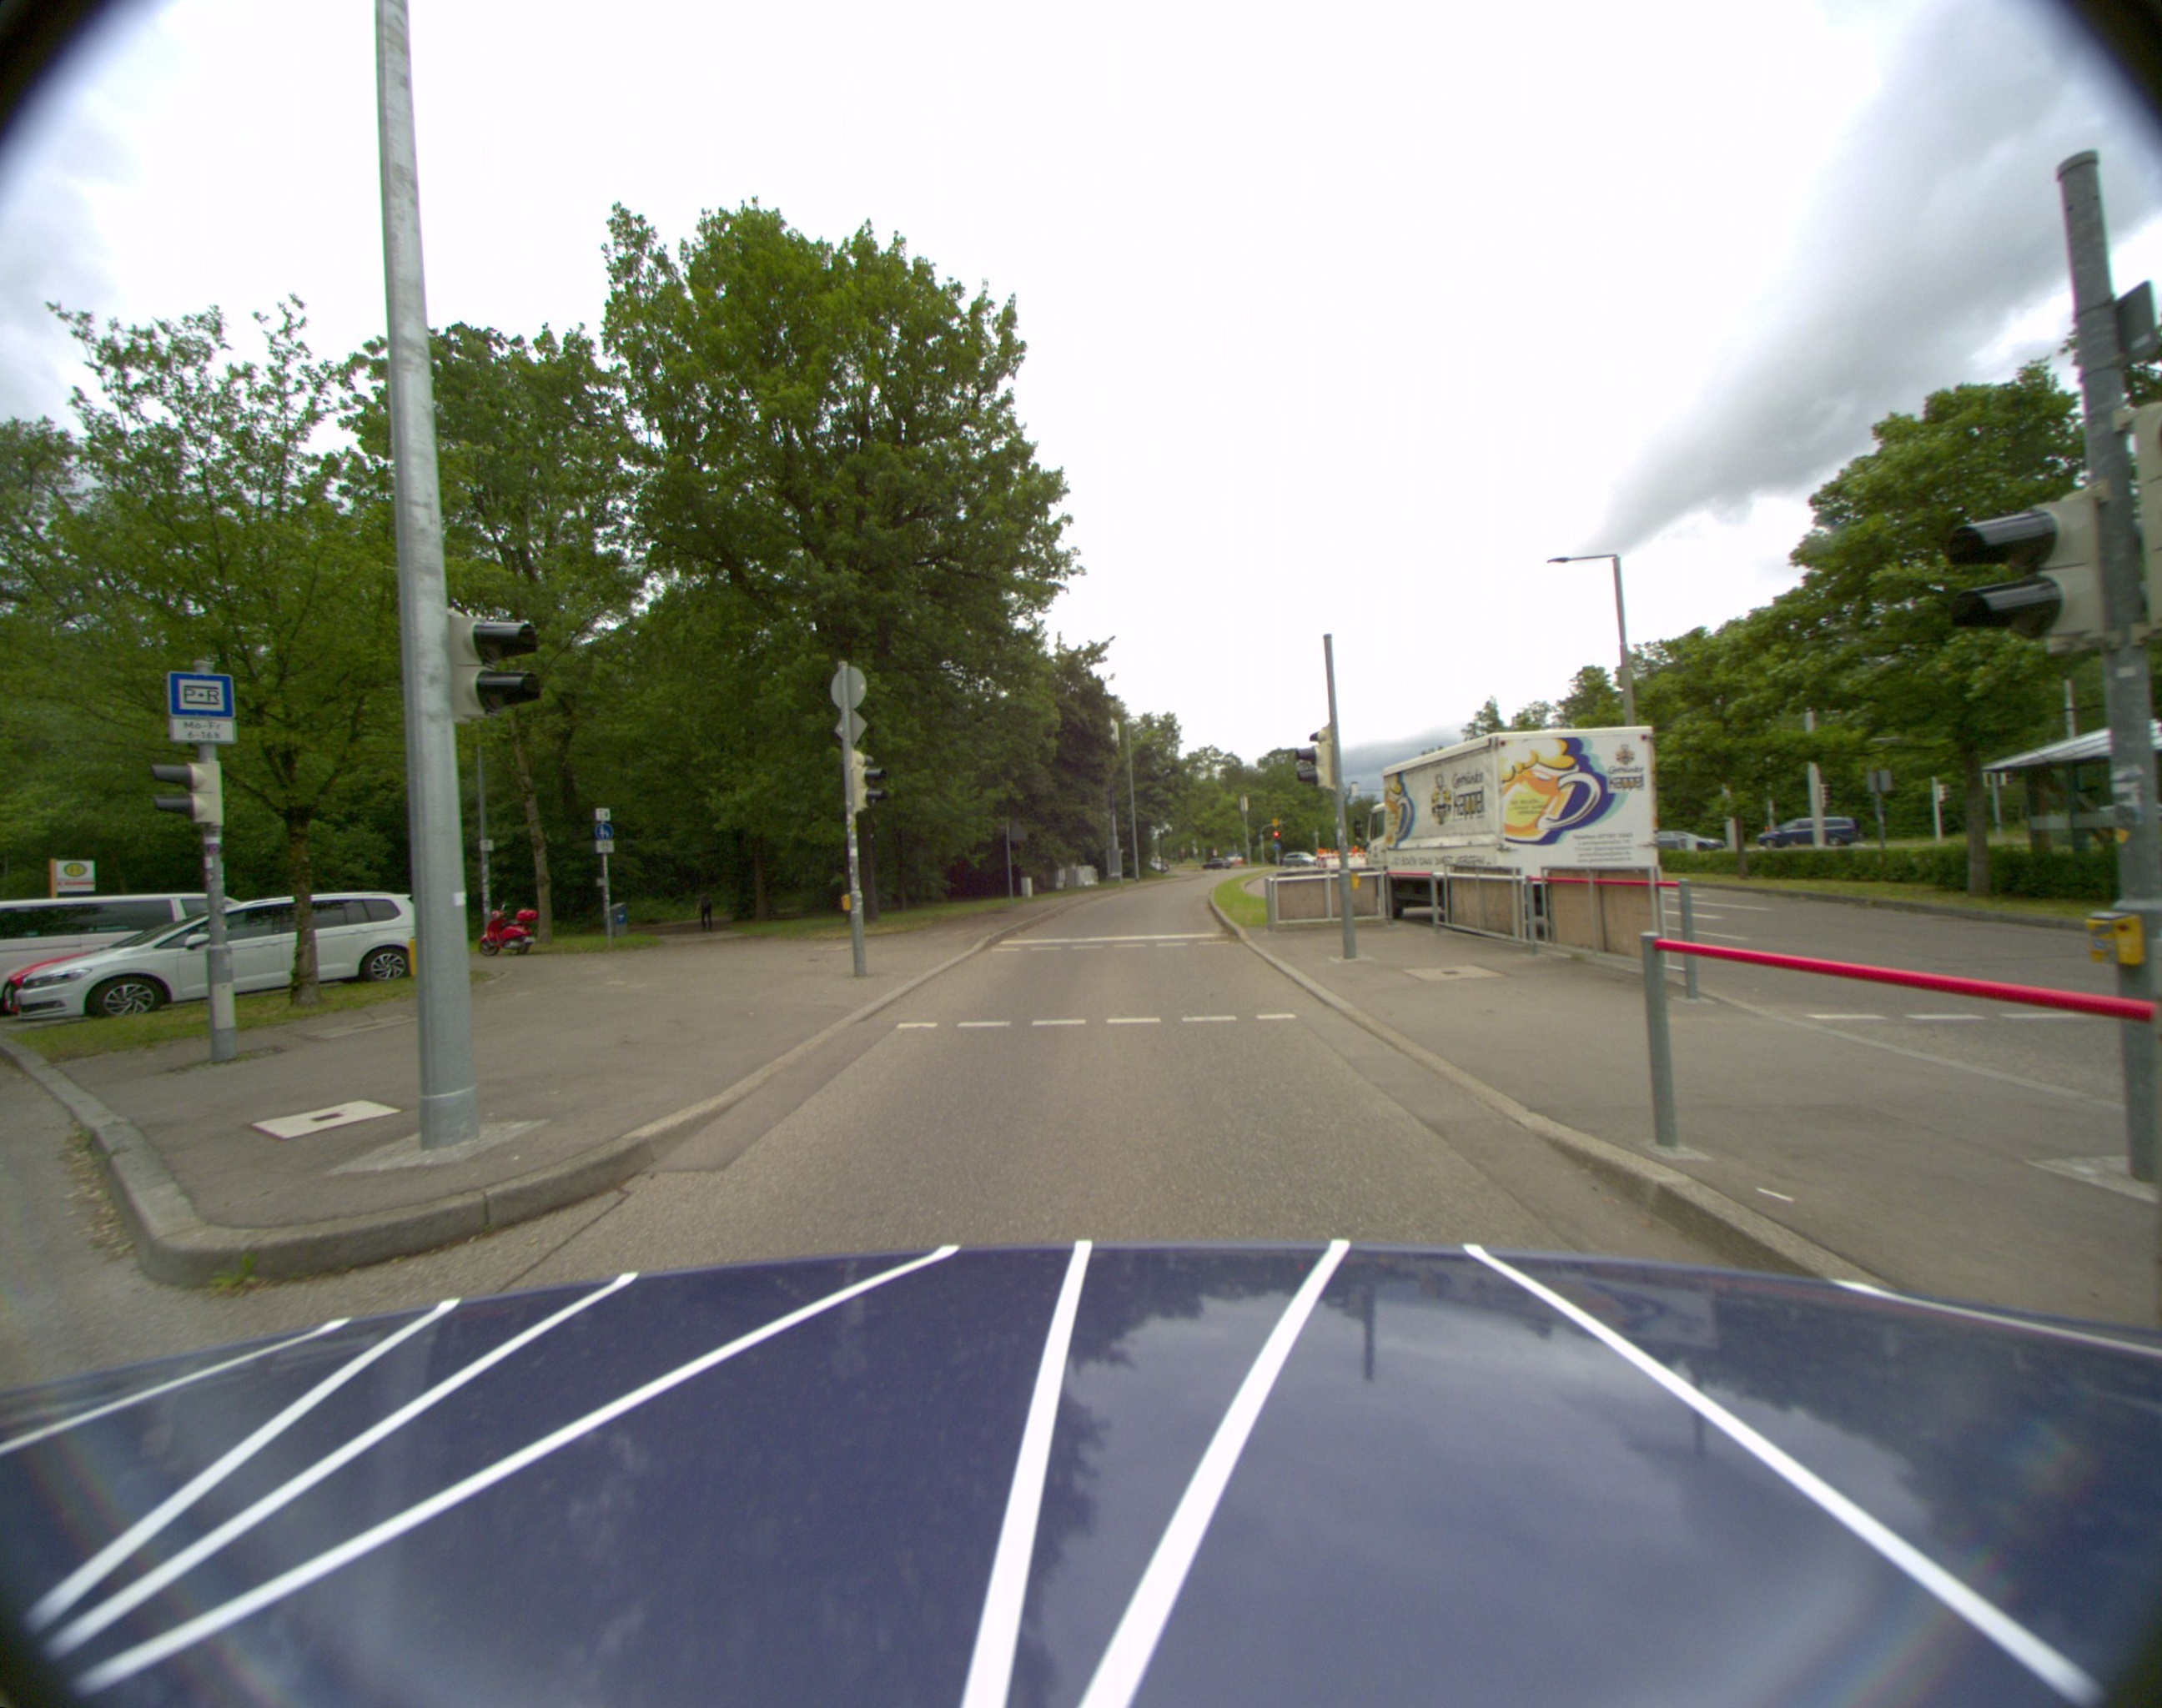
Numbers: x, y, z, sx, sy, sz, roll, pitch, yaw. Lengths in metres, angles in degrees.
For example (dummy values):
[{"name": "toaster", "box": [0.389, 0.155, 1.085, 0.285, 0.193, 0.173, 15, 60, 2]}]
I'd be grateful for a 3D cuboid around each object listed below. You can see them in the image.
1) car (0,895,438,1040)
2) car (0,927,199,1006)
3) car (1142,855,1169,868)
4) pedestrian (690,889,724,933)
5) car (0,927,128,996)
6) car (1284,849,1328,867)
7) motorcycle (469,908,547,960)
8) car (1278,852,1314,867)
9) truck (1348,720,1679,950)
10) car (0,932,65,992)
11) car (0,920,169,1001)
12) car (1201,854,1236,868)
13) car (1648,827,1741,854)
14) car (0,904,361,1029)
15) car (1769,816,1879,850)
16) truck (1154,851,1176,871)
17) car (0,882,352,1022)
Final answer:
[{"name": "car", "box": [-13.651, 1.654, 12.327, 1.995, 1.543, 4.428, -5, -1, 32]}, {"name": "car", "box": [-22.706, 2.514, 16.570, 1.815, 1.317, 4.136, -4, -1, 26]}, {"name": "car", "box": [11.486, 1.158, 117.160, 2.002, 1.717, 4.465, -4, 0, -24]}, {"name": "pedestrian", "box": [-15.064, 2.278, 30.627, 0.833, 1.641, 1.035, -4, 0, -8]}, {"name": "car", "box": [-27.334, 2.805, 18.866, 1.815, 1.486, 4.207, -4, -1, 26]}, {"name": "car", "box": [23.282, 0.438, 78.675, 1.901, 1.630, 3.974, -4, -1, -35]}, {"name": "motorcycle", "box": [-14.533, 2.028, 19.267, 1.953, 1.197, 0.591, -4, 0, 22]}, {"name": "car", "box": [25.519, 0.650, 90.277, 1.665, 1.330, 3.834, -9, 2, -29]}, {"name": "truck", "box": [7.292, -0.275, 14.001, 2.635, 3.219, 6.206, -1, 0, 1]}, {"name": "car", "box": [-29.666, 2.984, 19.430, 1.760, 1.448, 4.074, -4, -1, 26]}, {"name": "car", "box": [-24.927, 2.564, 17.547, 1.839, 1.548, 4.539, -4, -1, 23]}, {"name": "car", "box": [18.376, 0.905, 101.863, 1.884, 1.586, 4.441, -4, -1, -37]}, {"name": "car", "box": [40.585, -0.850, 50.387, 1.799, 1.428, 4.381, -4, -1, -31]}, {"name": "car", "box": [-15.993, 1.867, 13.632, 1.890, 1.543, 4.007, -4, -1, 30]}, {"name": "car", "box": [49.453, -1.364, 50.689, 2.003, 1.805, 4.824, -4, -1, -31]}, {"name": "truck", "box": [15.125, 1.246, 136.682, 2.743, 3.192, 6.680, -4, 0, 14]}, {"name": "car", "box": [-18.156, 1.794, 14.785, 2.058, 1.946, 5.190, -4, 1, 26]}]
